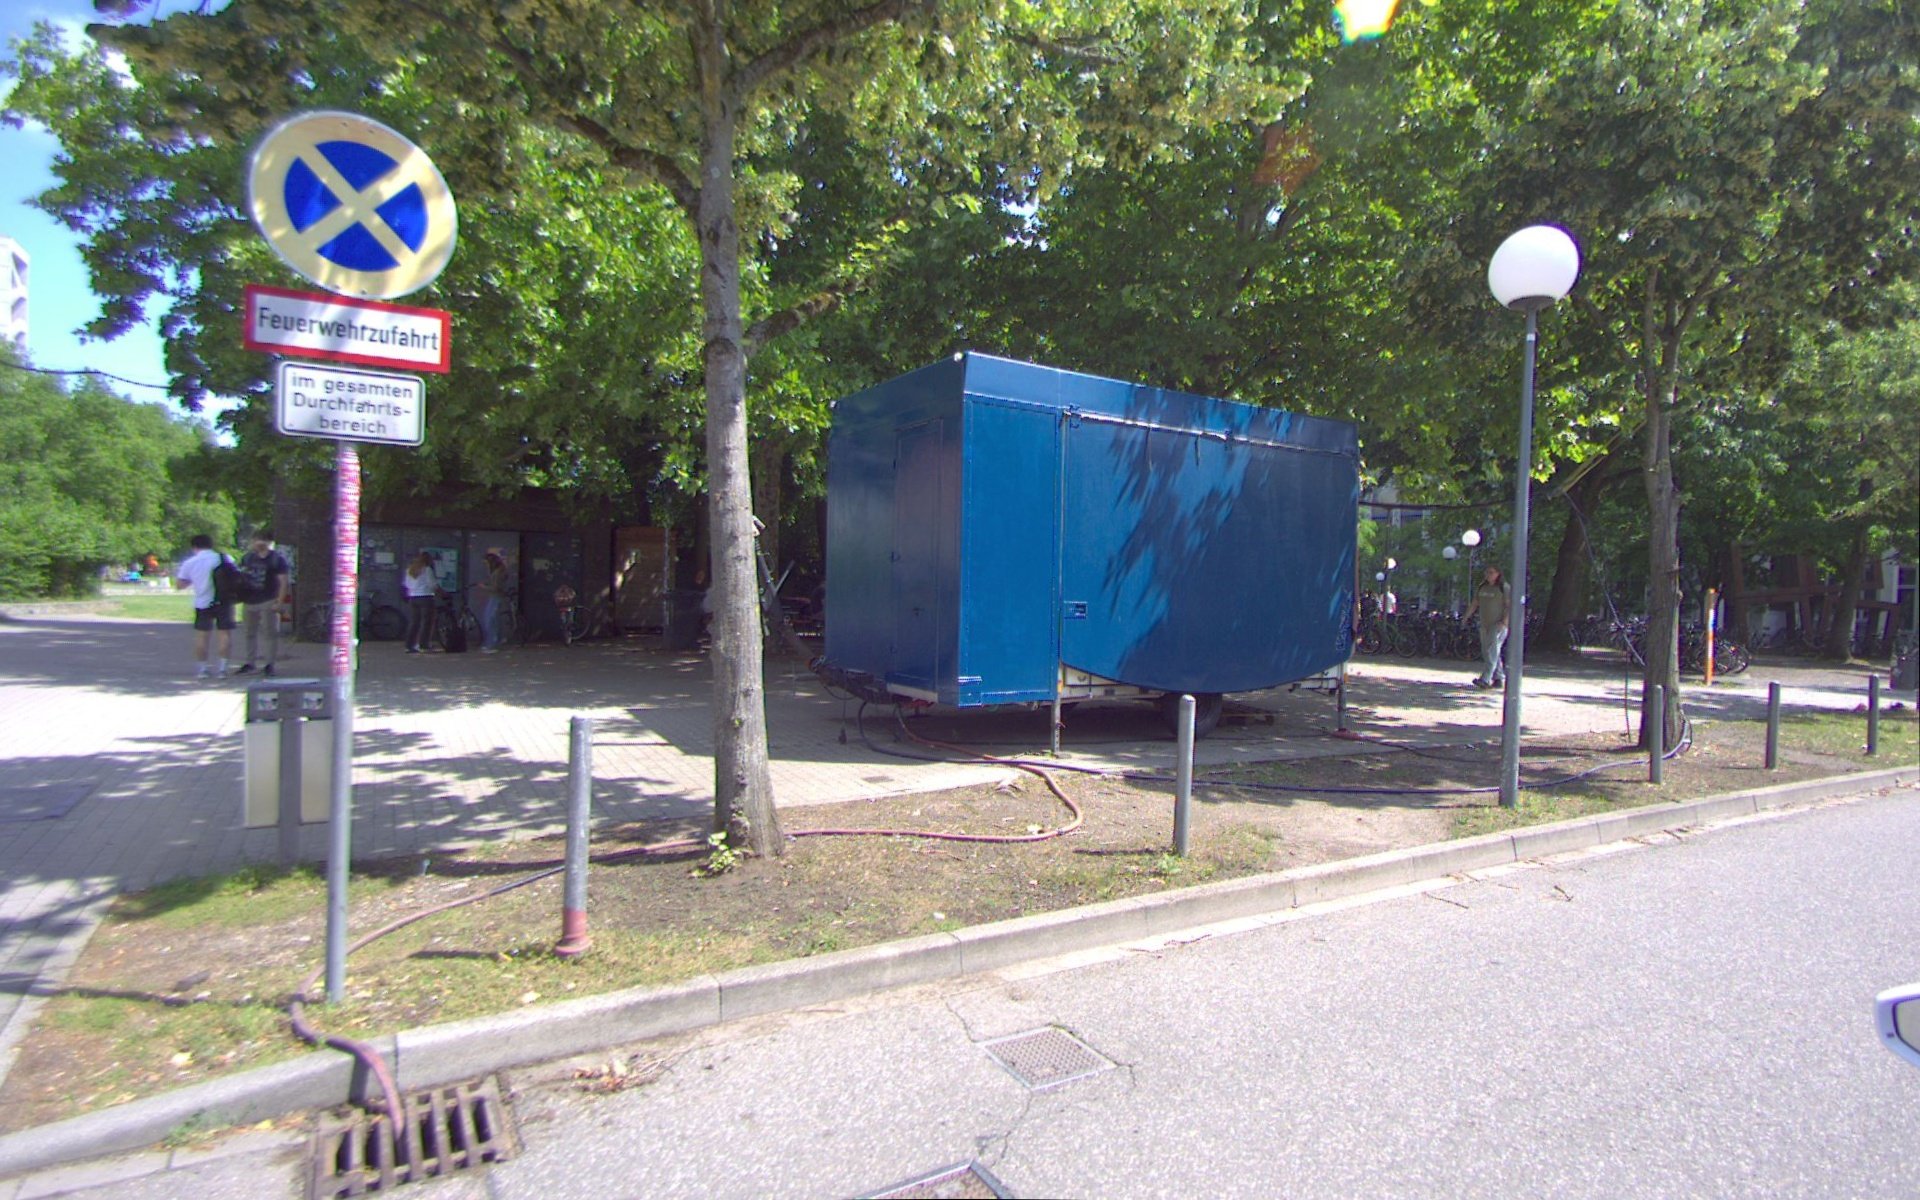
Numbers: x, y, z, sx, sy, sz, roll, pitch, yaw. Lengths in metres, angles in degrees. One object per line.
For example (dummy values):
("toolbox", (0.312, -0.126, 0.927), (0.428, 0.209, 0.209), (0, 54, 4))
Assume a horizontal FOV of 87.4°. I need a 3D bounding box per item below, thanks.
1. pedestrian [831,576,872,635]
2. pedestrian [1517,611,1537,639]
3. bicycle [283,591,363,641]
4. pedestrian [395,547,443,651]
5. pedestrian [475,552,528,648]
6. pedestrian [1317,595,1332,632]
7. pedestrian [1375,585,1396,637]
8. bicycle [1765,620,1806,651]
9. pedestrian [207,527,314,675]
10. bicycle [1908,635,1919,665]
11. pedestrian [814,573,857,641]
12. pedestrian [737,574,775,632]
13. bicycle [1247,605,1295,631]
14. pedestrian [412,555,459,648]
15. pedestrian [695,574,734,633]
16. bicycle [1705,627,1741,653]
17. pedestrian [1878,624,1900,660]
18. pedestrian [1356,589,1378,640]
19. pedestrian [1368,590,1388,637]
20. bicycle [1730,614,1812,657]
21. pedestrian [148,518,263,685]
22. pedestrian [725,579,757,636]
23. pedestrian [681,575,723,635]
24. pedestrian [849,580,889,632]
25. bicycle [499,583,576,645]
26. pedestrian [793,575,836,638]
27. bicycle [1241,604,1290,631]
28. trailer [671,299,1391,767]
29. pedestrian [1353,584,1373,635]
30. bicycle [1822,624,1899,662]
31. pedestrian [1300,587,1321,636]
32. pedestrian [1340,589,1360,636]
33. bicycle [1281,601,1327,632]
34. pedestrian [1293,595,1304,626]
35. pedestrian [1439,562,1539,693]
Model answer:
("pedestrian", (-2.396, 0.111, 22.298), (0.584, 1.250, 0.742), (3, 3, 25))
("pedestrian", (34.492, 1.511, 61.079), (0.590, 1.614, 0.824), (2, 1, -29))
("bicycle", (-11.906, 0.309, 18.797), (1.217, 0.895, 0.302), (2, 1, -30))
("pedestrian", (-9.247, -0.028, 17.178), (0.520, 1.734, 0.448), (3, 3, 15))
("pedestrian", (-8.243, -0.003, 18.055), (0.665, 1.673, 0.503), (3, 3, 20))
("pedestrian", (16.237, 0.594, 44.762), (0.453, 1.636, 0.350), (3, 2, -5))
("pedestrian", (16.409, 0.414, 38.751), (0.635, 1.960, 0.696), (3, 2, 24))
("bicycle", (35.188, 1.527, 42.798), (2.354, 1.269, 0.523), (2, 0, -31))
("pedestrian", (-8.705, 0.015, 12.517), (0.863, 1.743, 0.489), (4, 0, -3))
("bicycle", (37.842, 1.974, 39.281), (1.951, 1.101, 0.549), (2, 2, -32))
("pedestrian", (-2.663, 0.137, 21.536), (0.584, 1.388, 0.742), (3, 3, 25))
("pedestrian", (-4.677, 0.067, 23.020), (0.685, 1.288, 0.557), (2, 2, -31))
("bicycle", (12.235, 0.693, 39.494), (1.740, 0.906, 0.417), (4, 2, 40))
("pedestrian", (-9.304, 0.017, 17.836), (0.594, 1.615, 0.413), (3, 3, 17))
("pedestrian", (-5.504, 0.073, 22.526), (0.685, 1.288, 0.557), (2, 2, -31))
("bicycle", (34.315, 1.816, 45.185), (1.951, 1.101, 0.549), (2, 2, -32))
("pedestrian", (43.910, 1.979, 47.495), (0.689, 1.684, 0.627), (1, 2, -42))
("pedestrian", (13.930, 0.503, 34.371), (0.620, 1.693, 0.730), (3, 2, 24))
("pedestrian", (15.267, 0.486, 36.702), (0.545, 1.693, 0.693), (3, 2, 25))
("bicycle", (30.639, 1.344, 37.982), (2.248, 1.469, 0.606), (3, 1, 27))
("pedestrian", (-8.762, 0.021, 11.689), (0.863, 1.844, 0.449), (4, 0, -3))
("pedestrian", (-5.253, 0.175, 24.049), (0.552, 1.341, 0.642), (2, 1, -29))
("pedestrian", (-6.008, 0.112, 23.382), (0.769, 1.341, 0.684), (2, 1, -30))
("pedestrian", (-2.266, 0.150, 24.993), (0.762, 1.267, 0.563), (1, 2, -43))
("bicycle", (-8.104, 0.266, 19.265), (1.323, 1.091, 0.417), (4, 0, 16))
("pedestrian", (-3.184, 0.145, 22.041), (0.533, 1.350, 0.846), (2, 1, 24))
("bicycle", (11.738, 0.661, 38.615), (1.740, 0.906, 0.417), (4, 2, 40))
("trailer", (0.816, -0.394, 9.359), (6.196, 3.067, 2.682), (2, 2, -32))
("pedestrian", (15.677, 0.365, 39.073), (0.610, 1.960, 0.681), (3, 2, 24))
("bicycle", (32.946, 1.573, 36.792), (1.983, 1.270, 0.587), (2, 1, 27))
("pedestrian", (12.397, 0.402, 35.537), (0.567, 1.693, 0.630), (3, 2, 24))
("pedestrian", (14.378, 0.448, 37.037), (0.545, 1.693, 0.703), (3, 2, 24))
("bicycle", (14.588, 0.693, 42.647), (1.771, 1.223, 0.422), (4, 2, 43))
("pedestrian", (19.381, 0.604, 57.534), (0.405, 1.736, 0.544), (4, 2, 28))
("pedestrian", (8.423, 0.420, 16.015), (0.879, 1.981, 0.916), (3, 3, -21))
